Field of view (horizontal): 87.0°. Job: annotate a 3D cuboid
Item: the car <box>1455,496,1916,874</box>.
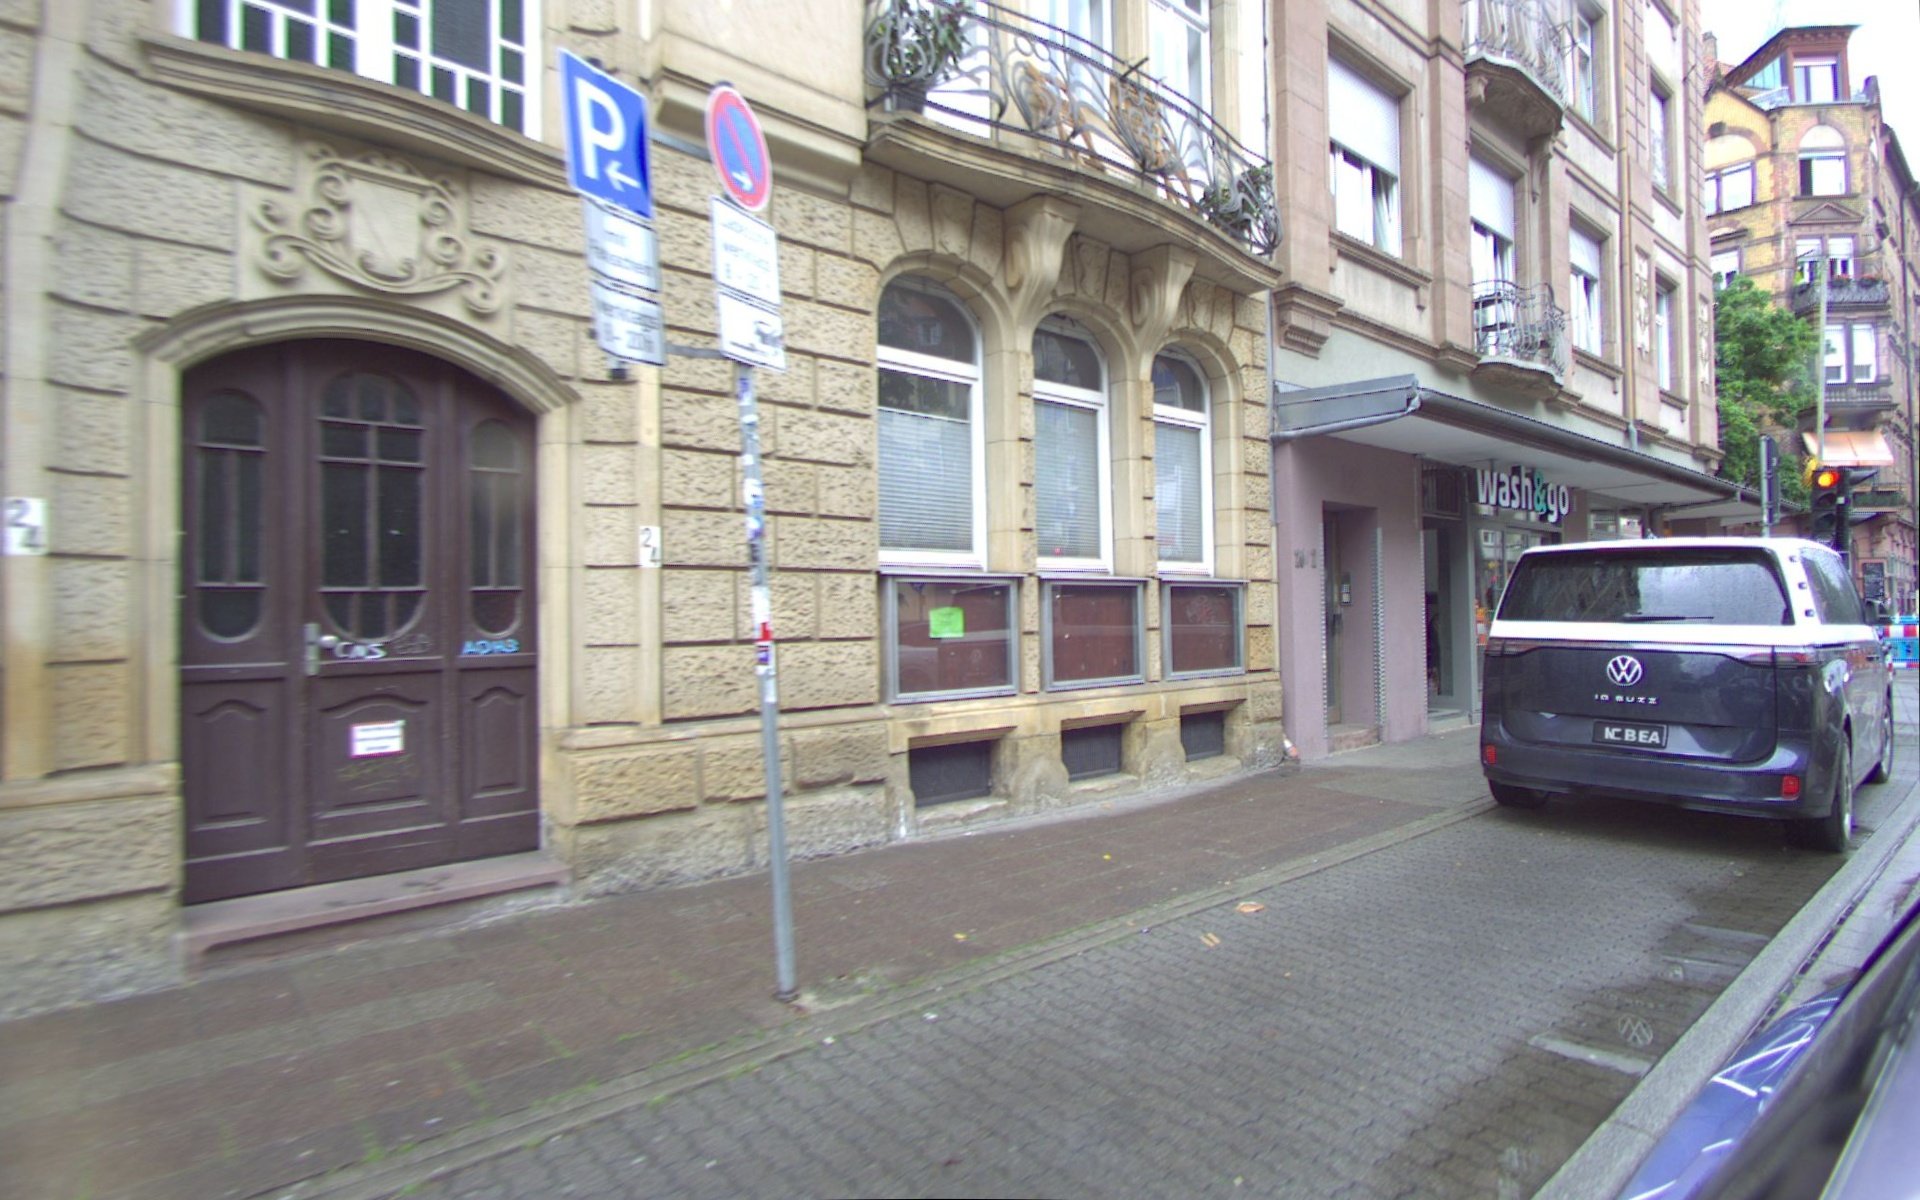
[{"bbox_3d":[5.819,0.408,7.778,5.144,1.963,1.995,-1,1,-44],"label":"car"}]
